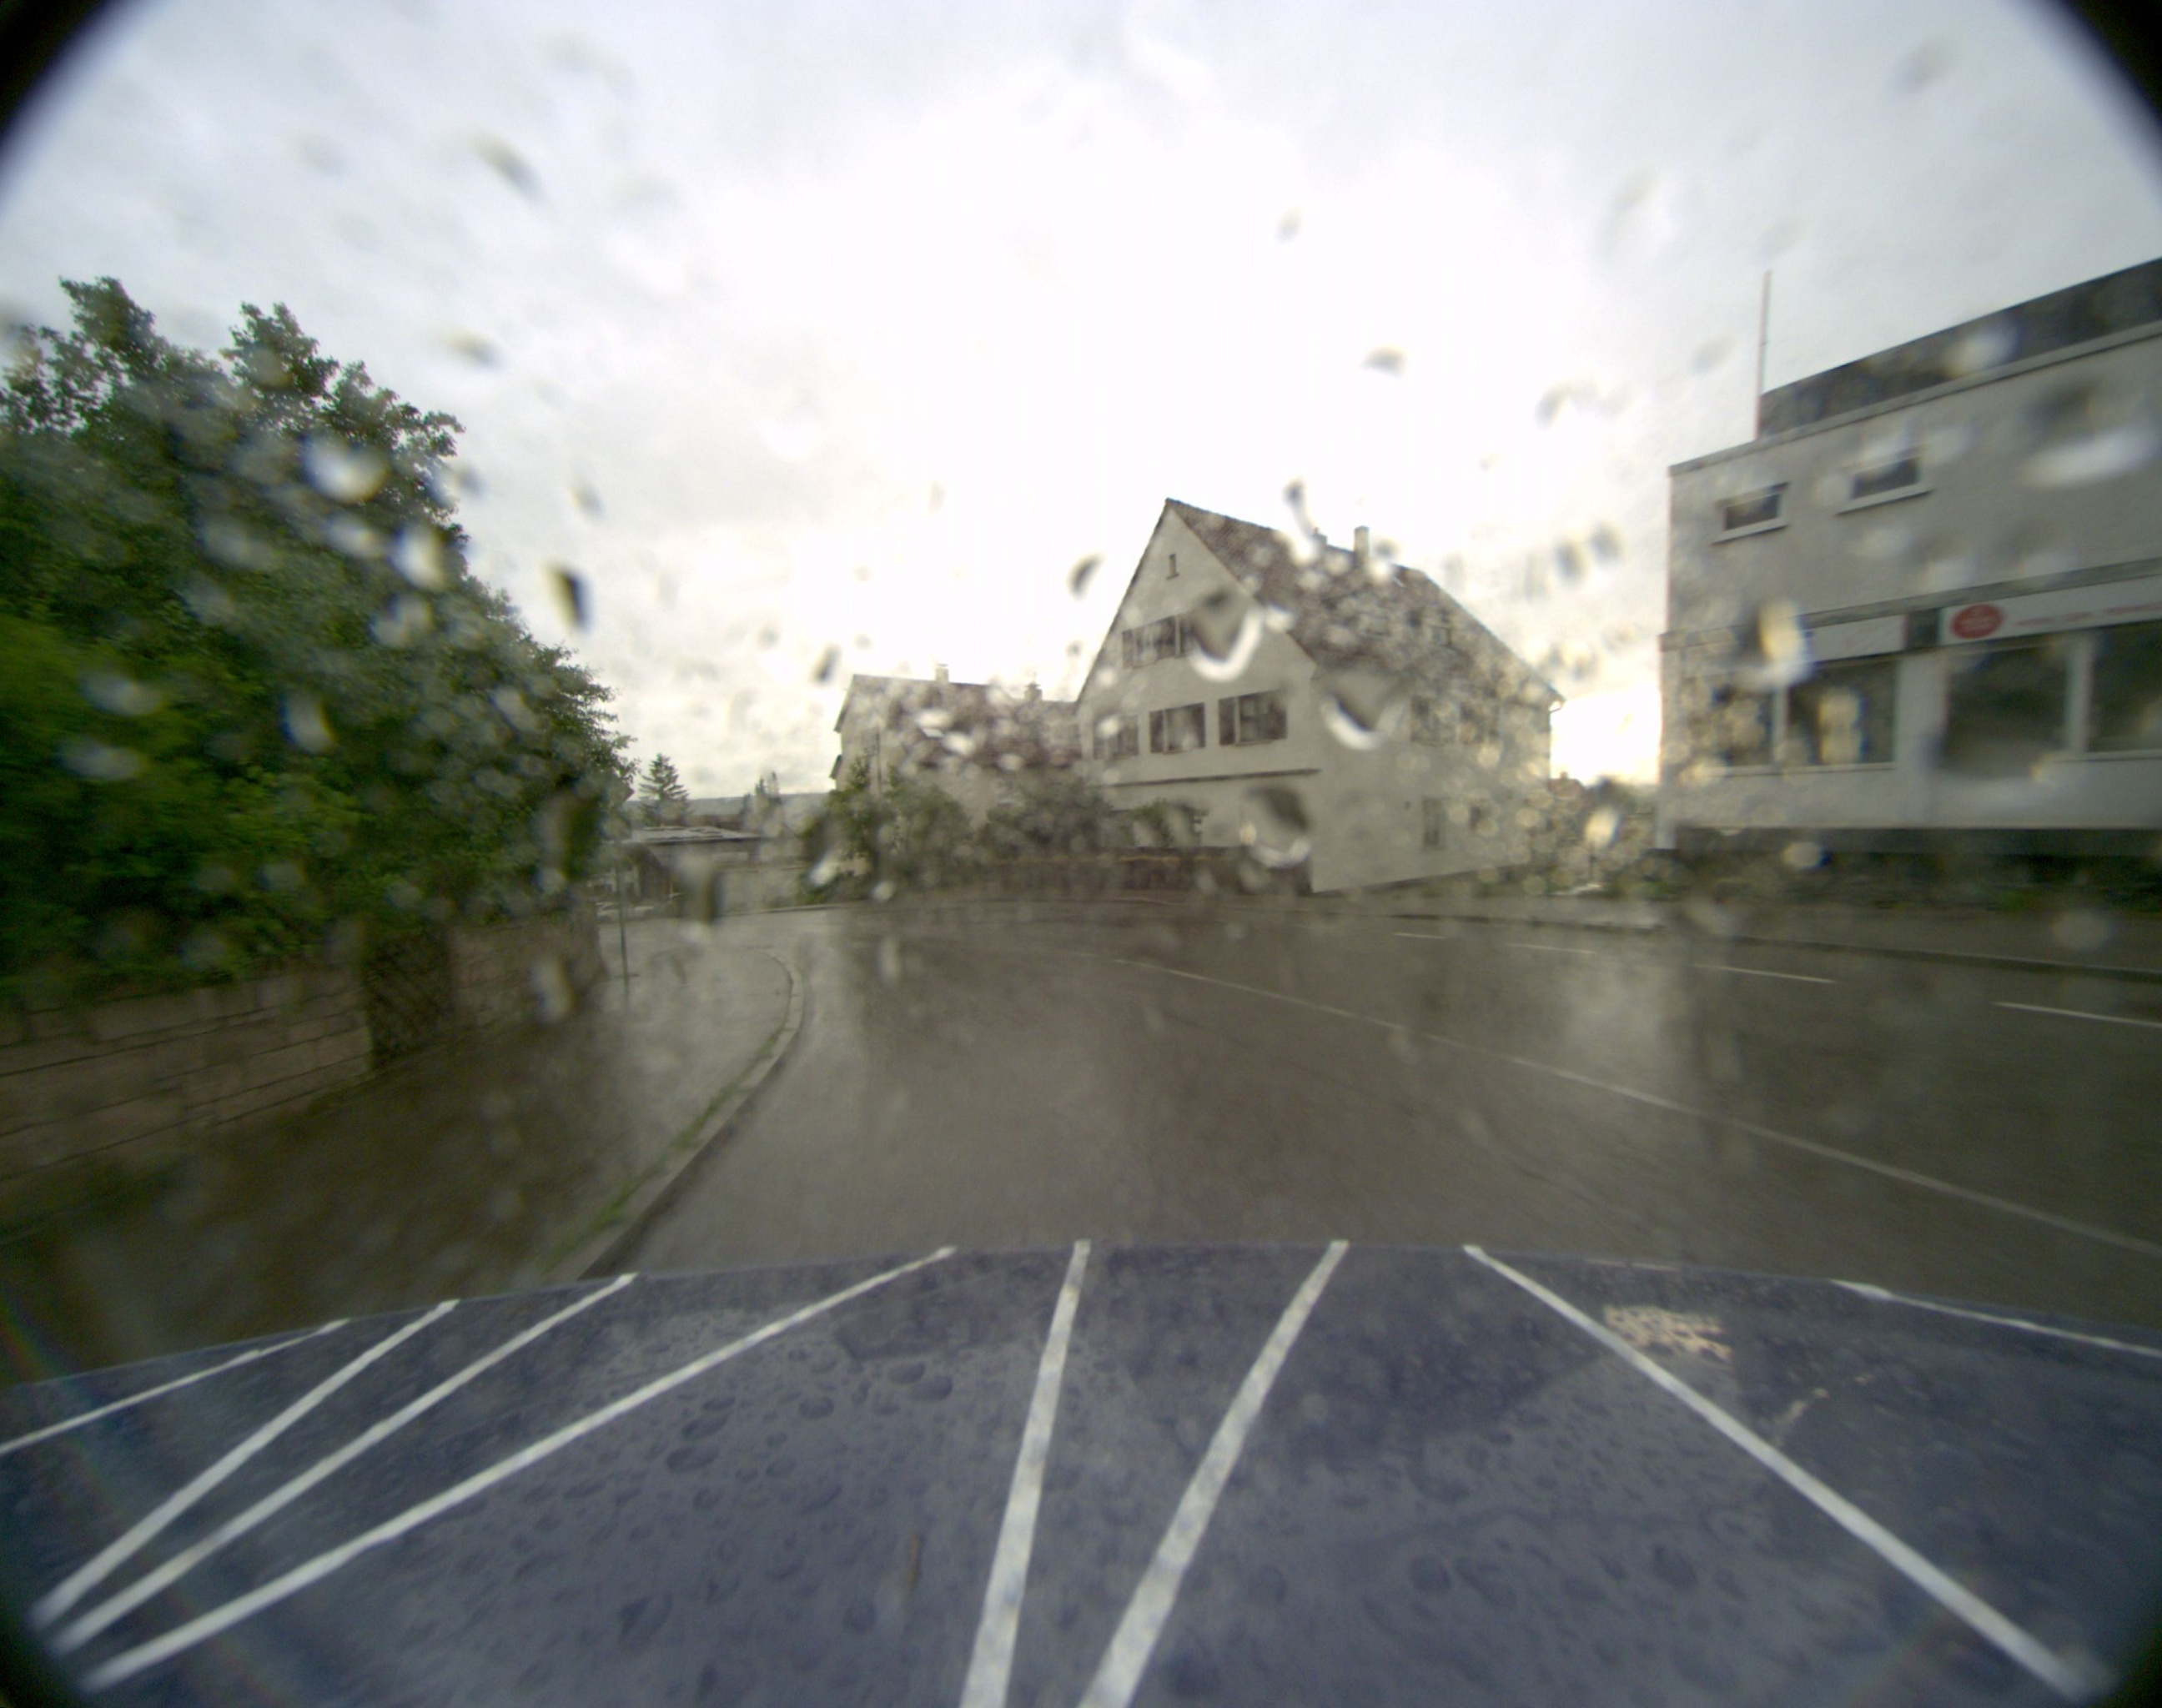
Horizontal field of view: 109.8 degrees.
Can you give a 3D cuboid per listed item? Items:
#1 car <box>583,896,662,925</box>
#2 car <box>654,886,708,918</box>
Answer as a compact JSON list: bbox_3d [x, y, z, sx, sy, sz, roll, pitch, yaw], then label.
[{"bbox_3d":[-32.954,4.030,54.656,4.518,1.496,1.896,-5,0,-38],"label":"car"},{"bbox_3d":[-24.292,2.940,46.098,1.983,1.649,4.951,-6,0,-37],"label":"car"}]
